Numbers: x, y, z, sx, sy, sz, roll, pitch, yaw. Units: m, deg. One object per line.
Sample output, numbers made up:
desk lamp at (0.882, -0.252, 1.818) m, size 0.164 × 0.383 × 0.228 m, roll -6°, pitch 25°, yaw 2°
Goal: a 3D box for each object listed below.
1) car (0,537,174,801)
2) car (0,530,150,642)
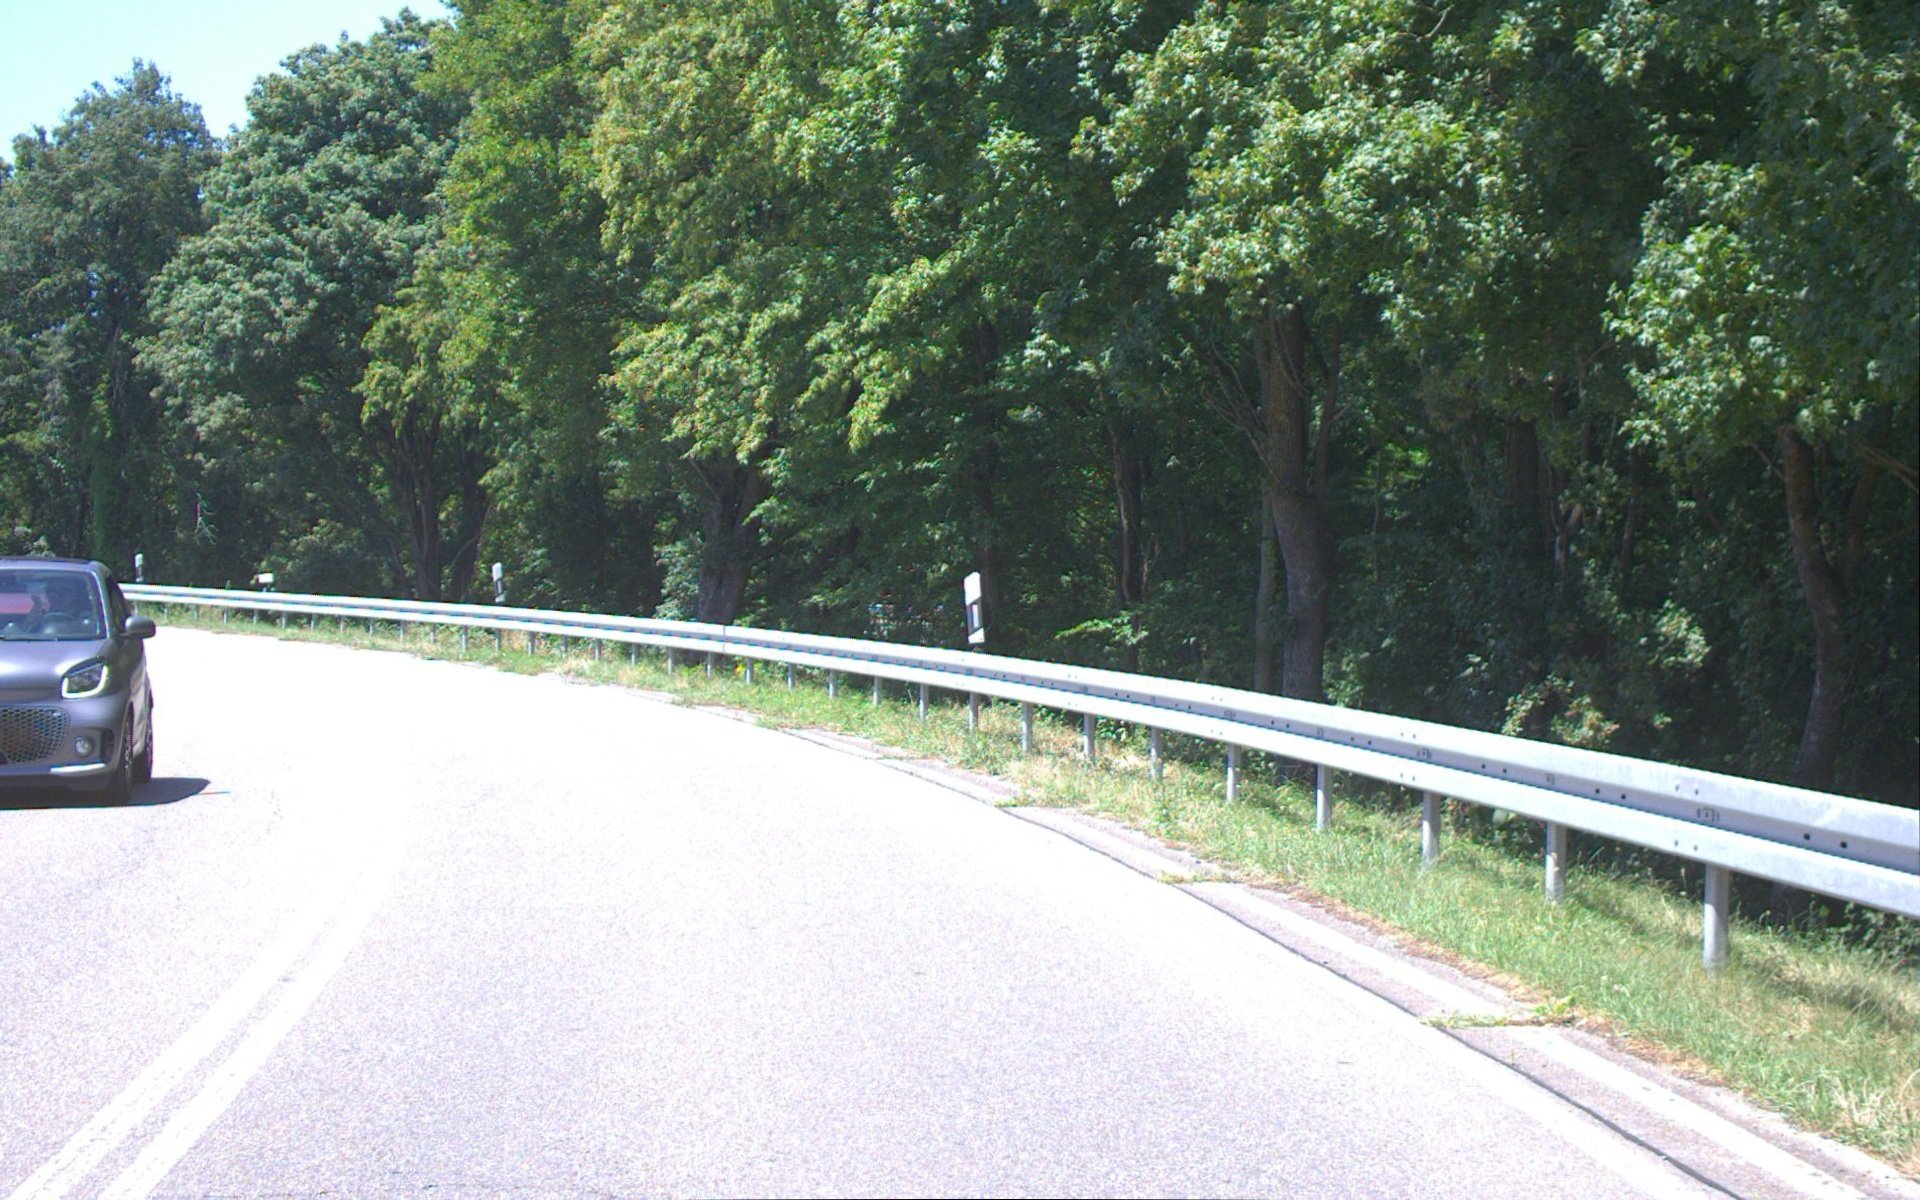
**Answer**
car at (-6.149, 0.380, 22.657) m, size 1.734 × 1.501 × 4.074 m, roll 0°, pitch 2°, yaw -11°
car at (-13.103, -0.162, 49.714) m, size 1.822 × 1.453 × 4.400 m, roll -2°, pitch 0°, yaw -24°
